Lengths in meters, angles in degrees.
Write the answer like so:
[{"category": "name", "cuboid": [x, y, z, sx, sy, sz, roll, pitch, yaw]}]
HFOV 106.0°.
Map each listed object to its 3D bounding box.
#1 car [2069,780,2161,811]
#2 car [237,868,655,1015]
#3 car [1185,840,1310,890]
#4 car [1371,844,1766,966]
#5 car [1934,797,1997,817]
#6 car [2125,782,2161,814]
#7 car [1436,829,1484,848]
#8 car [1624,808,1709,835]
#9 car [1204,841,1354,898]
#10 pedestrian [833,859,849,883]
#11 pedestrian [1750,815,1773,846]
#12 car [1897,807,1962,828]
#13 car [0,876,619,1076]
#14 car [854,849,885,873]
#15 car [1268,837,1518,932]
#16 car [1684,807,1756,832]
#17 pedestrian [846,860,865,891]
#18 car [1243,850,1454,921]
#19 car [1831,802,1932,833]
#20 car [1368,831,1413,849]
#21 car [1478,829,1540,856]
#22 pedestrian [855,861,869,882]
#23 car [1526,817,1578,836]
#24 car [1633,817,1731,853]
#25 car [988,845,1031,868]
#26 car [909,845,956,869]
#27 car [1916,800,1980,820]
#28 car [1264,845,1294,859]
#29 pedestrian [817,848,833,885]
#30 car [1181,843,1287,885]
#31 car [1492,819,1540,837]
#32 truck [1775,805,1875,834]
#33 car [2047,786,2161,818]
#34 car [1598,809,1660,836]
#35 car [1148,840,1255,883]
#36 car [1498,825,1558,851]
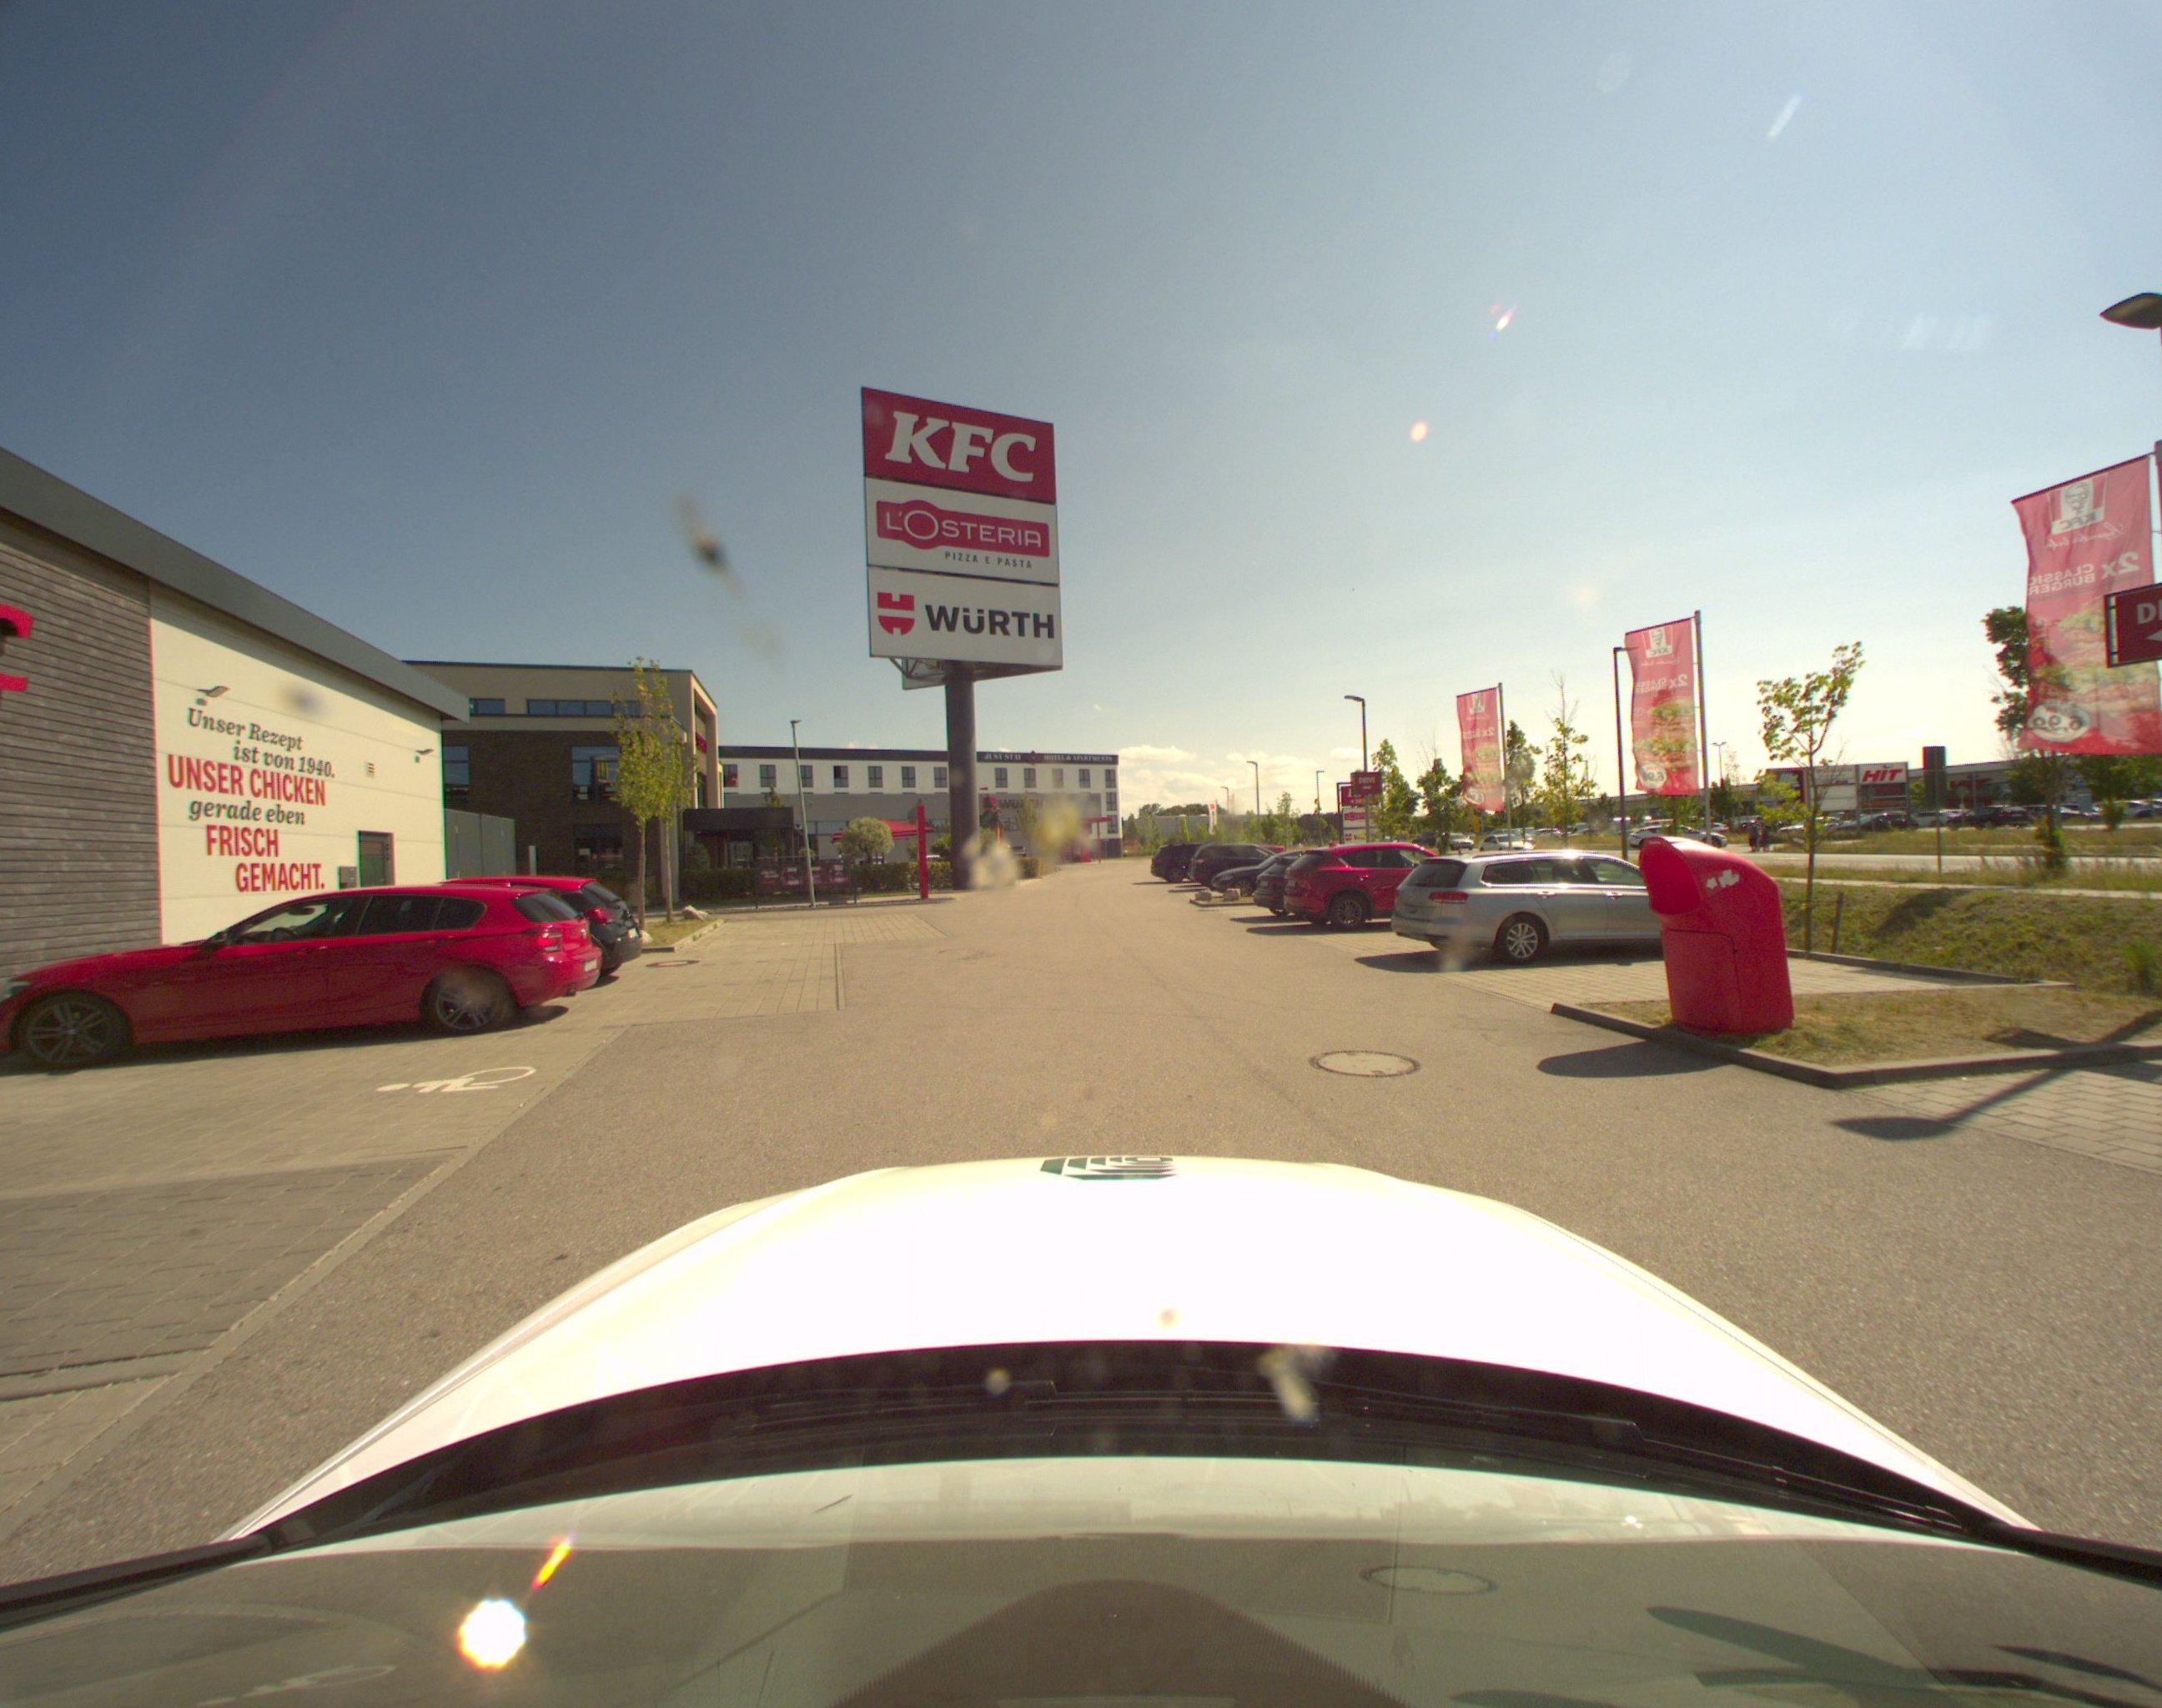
[{"category": "car", "cuboid": [77.941, -4.344, 60.829, 2.084, 2.013, 4.896, -3, 1, -21]}, {"category": "car", "cuboid": [-7.933, 1.019, 10.653, 3.907, 1.506, 1.730, -2, 0, -19]}, {"category": "car", "cuboid": [6.286, 0.403, 31.057, 4.312, 1.702, 1.892, -2, 0, -6]}, {"category": "car", "cuboid": [6.632, 0.639, 11.336, 4.580, 1.413, 1.737, -2, 0, -6]}, {"category": "car", "cuboid": [79.516, -4.217, 73.262, 1.668, 1.552, 3.450, -3, 1, -23]}, {"category": "car", "cuboid": [67.382, -3.510, 49.451, 1.954, 1.855, 4.546, -3, 1, -17]}, {"category": "car", "cuboid": [32.281, -1.290, 69.473, 1.986, 1.504, 4.659, -2, 1, 1]}, {"category": "car", "cuboid": [55.743, -3.075, 77.620, 6.280, 2.237, 2.813, -2, 1, -5]}, {"category": "car", "cuboid": [6.303, 0.484, 26.316, 4.419, 1.638, 1.896, -2, 0, 1]}, {"category": "pedestrian", "cuboid": [-12.728, 0.910, 43.155, 0.708, 1.198, 0.614, -2, 1, -10]}, {"category": "pedestrian", "cuboid": [34.744, -1.192, 41.571, 0.620, 1.556, 0.669, -2, 1, 8]}, {"category": "car", "cuboid": [72.611, -3.123, 69.746, 1.668, 1.552, 3.450, -3, 1, -23]}, {"category": "car", "cuboid": [-7.210, 1.017, 7.959, 4.402, 1.413, 1.729, -2, 0, -20]}, {"category": "car", "cuboid": [-12.447, 0.398, 48.004, 1.645, 1.308, 3.822, -3, 0, -14]}, {"category": "car", "cuboid": [6.092, 0.555, 16.198, 4.211, 1.638, 1.947, -2, 0, -6]}, {"category": "car", "cuboid": [56.646, -3.037, 72.251, 5.160, 2.013, 1.995, -2, 1, -8]}, {"category": "pedestrian", "cuboid": [-10.187, 0.965, 36.766, 0.654, 1.366, 0.476, -3, 1, -43]}, {"category": "car", "cuboid": [6.010, 0.670, 18.530, 4.190, 1.410, 1.769, -2, 0, -8]}, {"category": "car", "cuboid": [53.562, -2.413, 54.548, 4.698, 1.846, 2.002, -2, 1, 2]}, {"category": "car", "cuboid": [28.491, -1.292, 75.167, 1.991, 1.526, 4.647, -2, 1, -6]}, {"category": "car", "cuboid": [26.119, -0.713, 49.858, 1.981, 1.526, 4.671, -2, 1, 10]}, {"category": "pedestrian", "cuboid": [-11.967, 0.946, 44.481, 0.575, 1.089, 0.544, -2, 1, -2]}, {"category": "car", "cuboid": [54.437, -3.142, 94.119, 5.057, 2.013, 1.995, -2, 1, -8]}, {"category": "car", "cuboid": [34.506, -1.080, 46.932, 4.350, 1.845, 2.013, -2, 1, 31]}, {"category": "car", "cuboid": [-6.248, 0.202, 70.325, 2.082, 1.880, 4.838, -3, 1, -26]}, {"category": "car", "cuboid": [-10.353, 0.215, 56.543, 1.959, 1.530, 4.336, -3, 1, -29]}, {"category": "car", "cuboid": [75.079, -3.810, 70.579, 1.668, 1.552, 3.450, -3, 1, -23]}, {"category": "car", "cuboid": [26.146, -0.339, 107.720, 1.995, 1.732, 4.740, -2, 1, -11]}, {"category": "pedestrian", "cuboid": [-10.512, 0.502, 33.453, 0.526, 1.505, 0.565, -3, 1, -20]}, {"category": "car", "cuboid": [6.378, 0.399, 34.201, 4.056, 1.608, 1.895, -2, 1, -1]}, {"category": "car", "cuboid": [53.392, -3.185, 99.981, 5.057, 2.013, 1.995, -2, 1, -8]}, {"category": "truck", "cuboid": [54.446, -2.537, 59.654, 5.394, 1.863, 2.001, -2, 1, 2]}, {"category": "car", "cuboid": [75.391, -3.815, 60.076, 2.084, 2.013, 4.896, -3, 1, -21]}, {"category": "car", "cuboid": [55.178, -3.191, 82.037, 5.057, 2.455, 1.995, -2, 1, -8]}, {"category": "car", "cuboid": [5.435, 0.322, 37.082, 4.561, 1.760, 1.895, -2, 0, -1]}, {"category": "car", "cuboid": [31.109, -1.143, 56.815, 1.865, 1.664, 4.607, -2, 1, 3]}]
